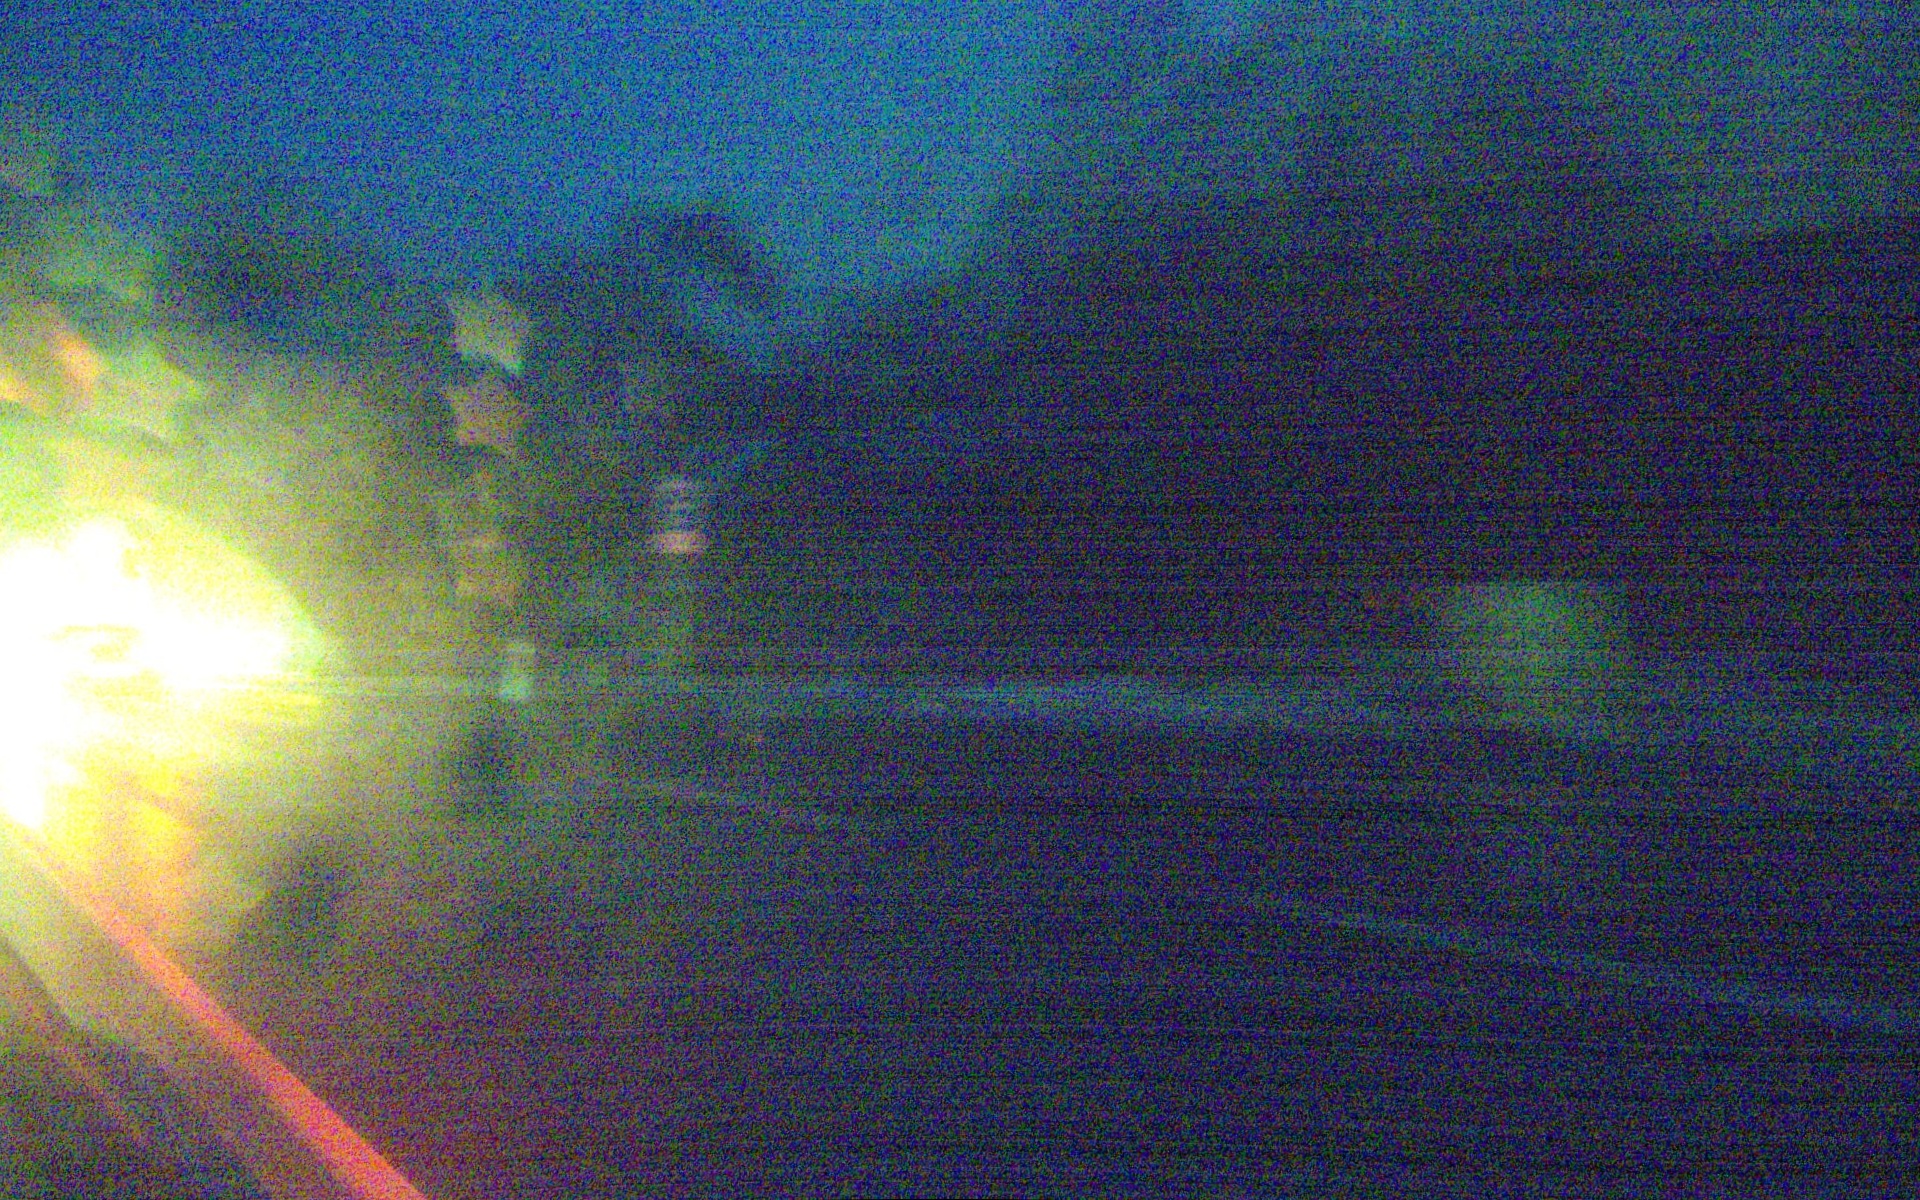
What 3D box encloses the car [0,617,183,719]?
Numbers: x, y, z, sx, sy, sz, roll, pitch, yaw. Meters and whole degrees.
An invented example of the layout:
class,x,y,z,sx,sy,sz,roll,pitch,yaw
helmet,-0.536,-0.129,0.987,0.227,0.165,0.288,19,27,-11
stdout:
class,x,y,z,sx,sy,sz,roll,pitch,yaw
car,-15.106,1.060,17.414,4.274,1.485,1.973,-1,0,42
